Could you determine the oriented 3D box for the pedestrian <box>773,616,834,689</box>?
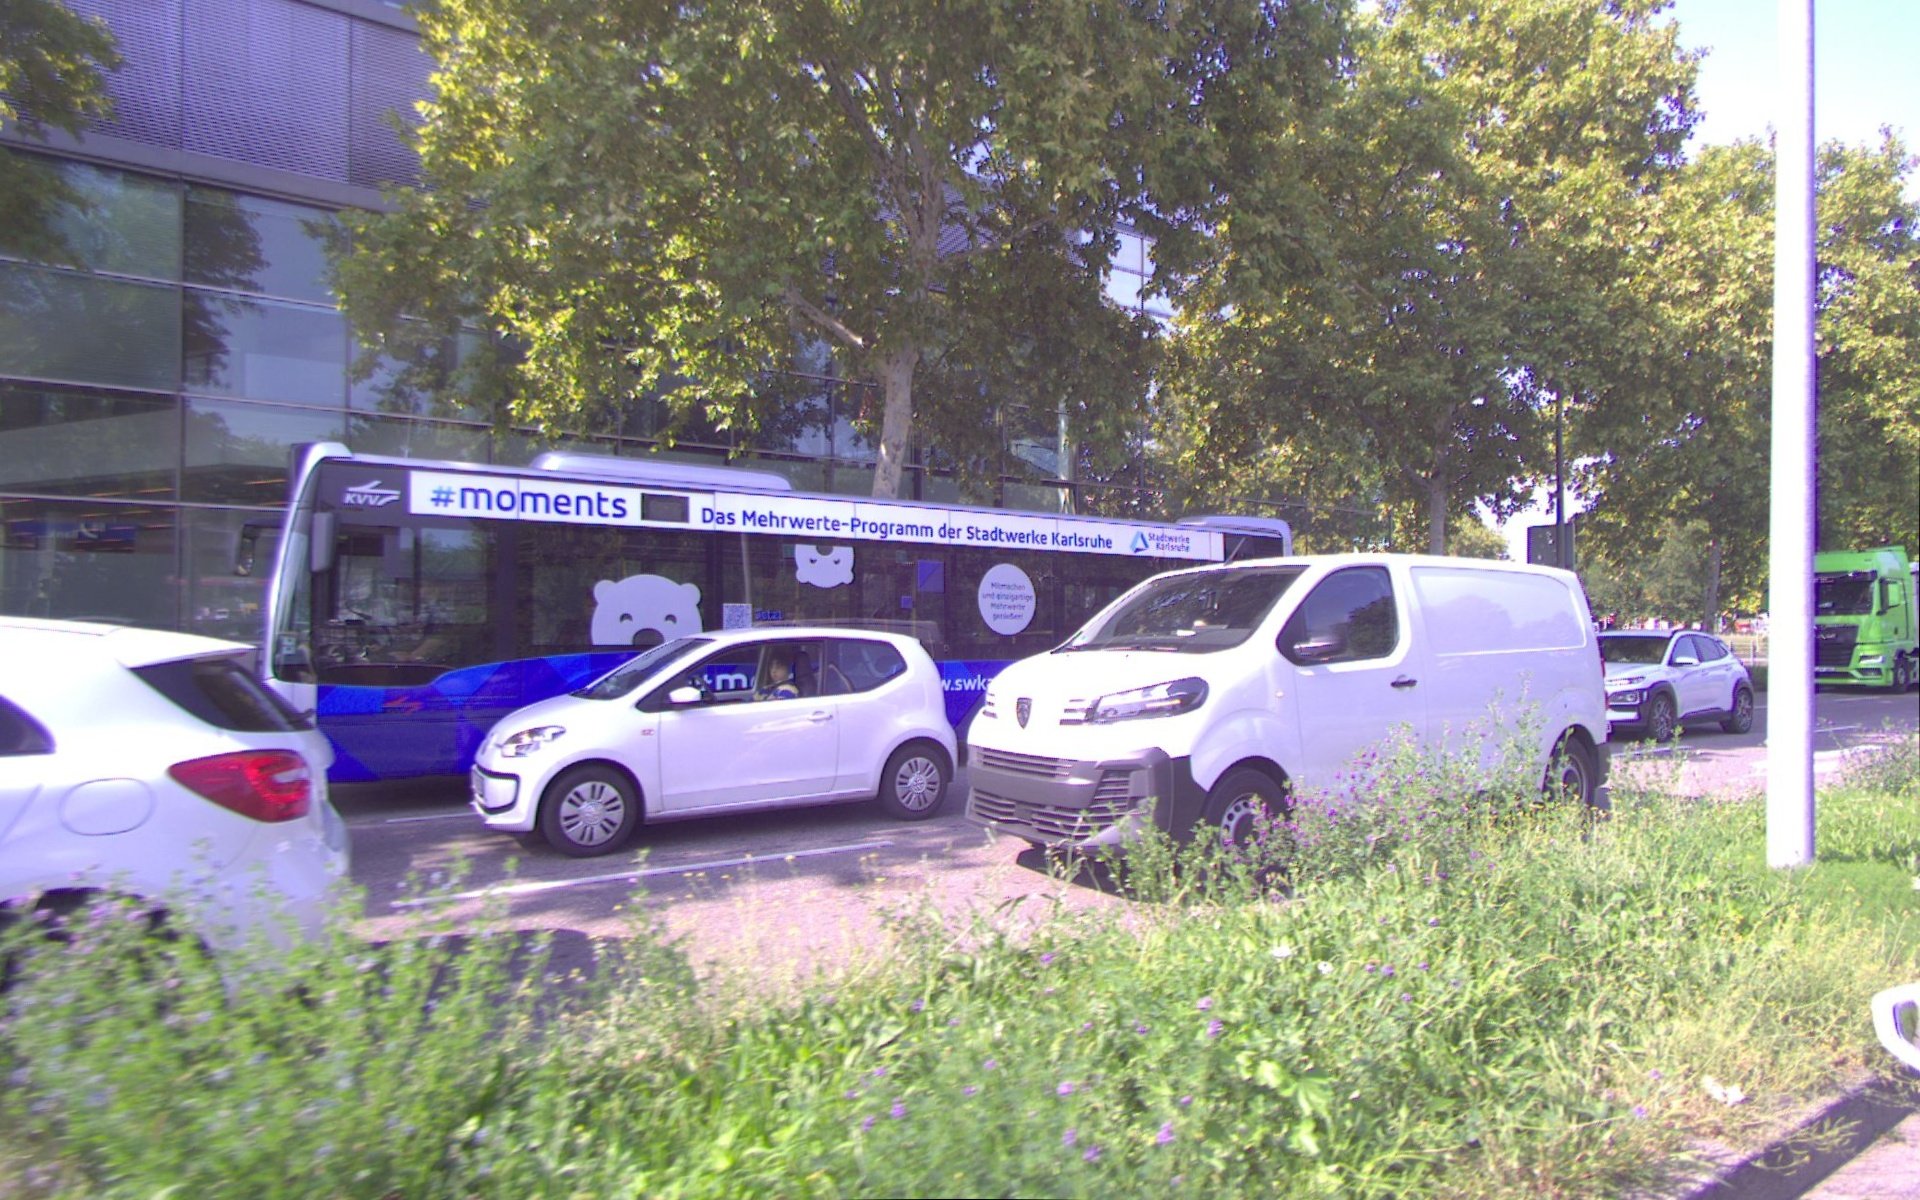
[{"bbox_3d":[-2.978,0.988,19.149,1.021,1.367,0.495,1,-1,-33],"label":"pedestrian"}]

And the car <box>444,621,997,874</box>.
[{"bbox_3d":[-1.740,0.967,7.678,3.780,1.486,1.697,2,-4,-32],"label":"car"}]

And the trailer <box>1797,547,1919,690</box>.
[{"bbox_3d":[30.957,0.752,31.930,13.661,3.871,2.619,2,-3,-33],"label":"trailer"}]

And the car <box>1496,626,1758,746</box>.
[{"bbox_3d":[9.858,1.212,14.782,4.095,1.548,1.686,2,-4,-33],"label":"car"}]

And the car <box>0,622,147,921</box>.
[{"bbox_3d":[-6.546,0.829,4.755,3.956,1.461,1.697,2,-4,-32],"label":"car"}]

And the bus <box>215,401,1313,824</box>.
[{"bbox_3d":[-0.962,0.275,11.753,12.175,3.120,2.576,2,-1,-32],"label":"bus"}]

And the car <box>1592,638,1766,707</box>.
[{"bbox_3d":[16.236,1.601,22.622,4.431,1.429,1.638,2,-3,-33],"label":"car"}]

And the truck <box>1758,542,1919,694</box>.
[{"bbox_3d":[25.265,0.587,28.262,5.827,3.869,2.594,2,-3,-33],"label":"truck"}]

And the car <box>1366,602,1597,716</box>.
[{"bbox_3d":[9.878,1.107,18.921,4.696,1.912,1.695,2,-3,-32],"label":"car"}]

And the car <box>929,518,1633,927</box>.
[{"bbox_3d":[2.335,0.667,6.781,4.837,1.888,1.901,2,-3,-33],"label":"car"}]

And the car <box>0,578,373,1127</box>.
[{"bbox_3d":[-3.943,0.674,2.707,4.038,1.420,1.700,1,-3,-32],"label":"car"}]
